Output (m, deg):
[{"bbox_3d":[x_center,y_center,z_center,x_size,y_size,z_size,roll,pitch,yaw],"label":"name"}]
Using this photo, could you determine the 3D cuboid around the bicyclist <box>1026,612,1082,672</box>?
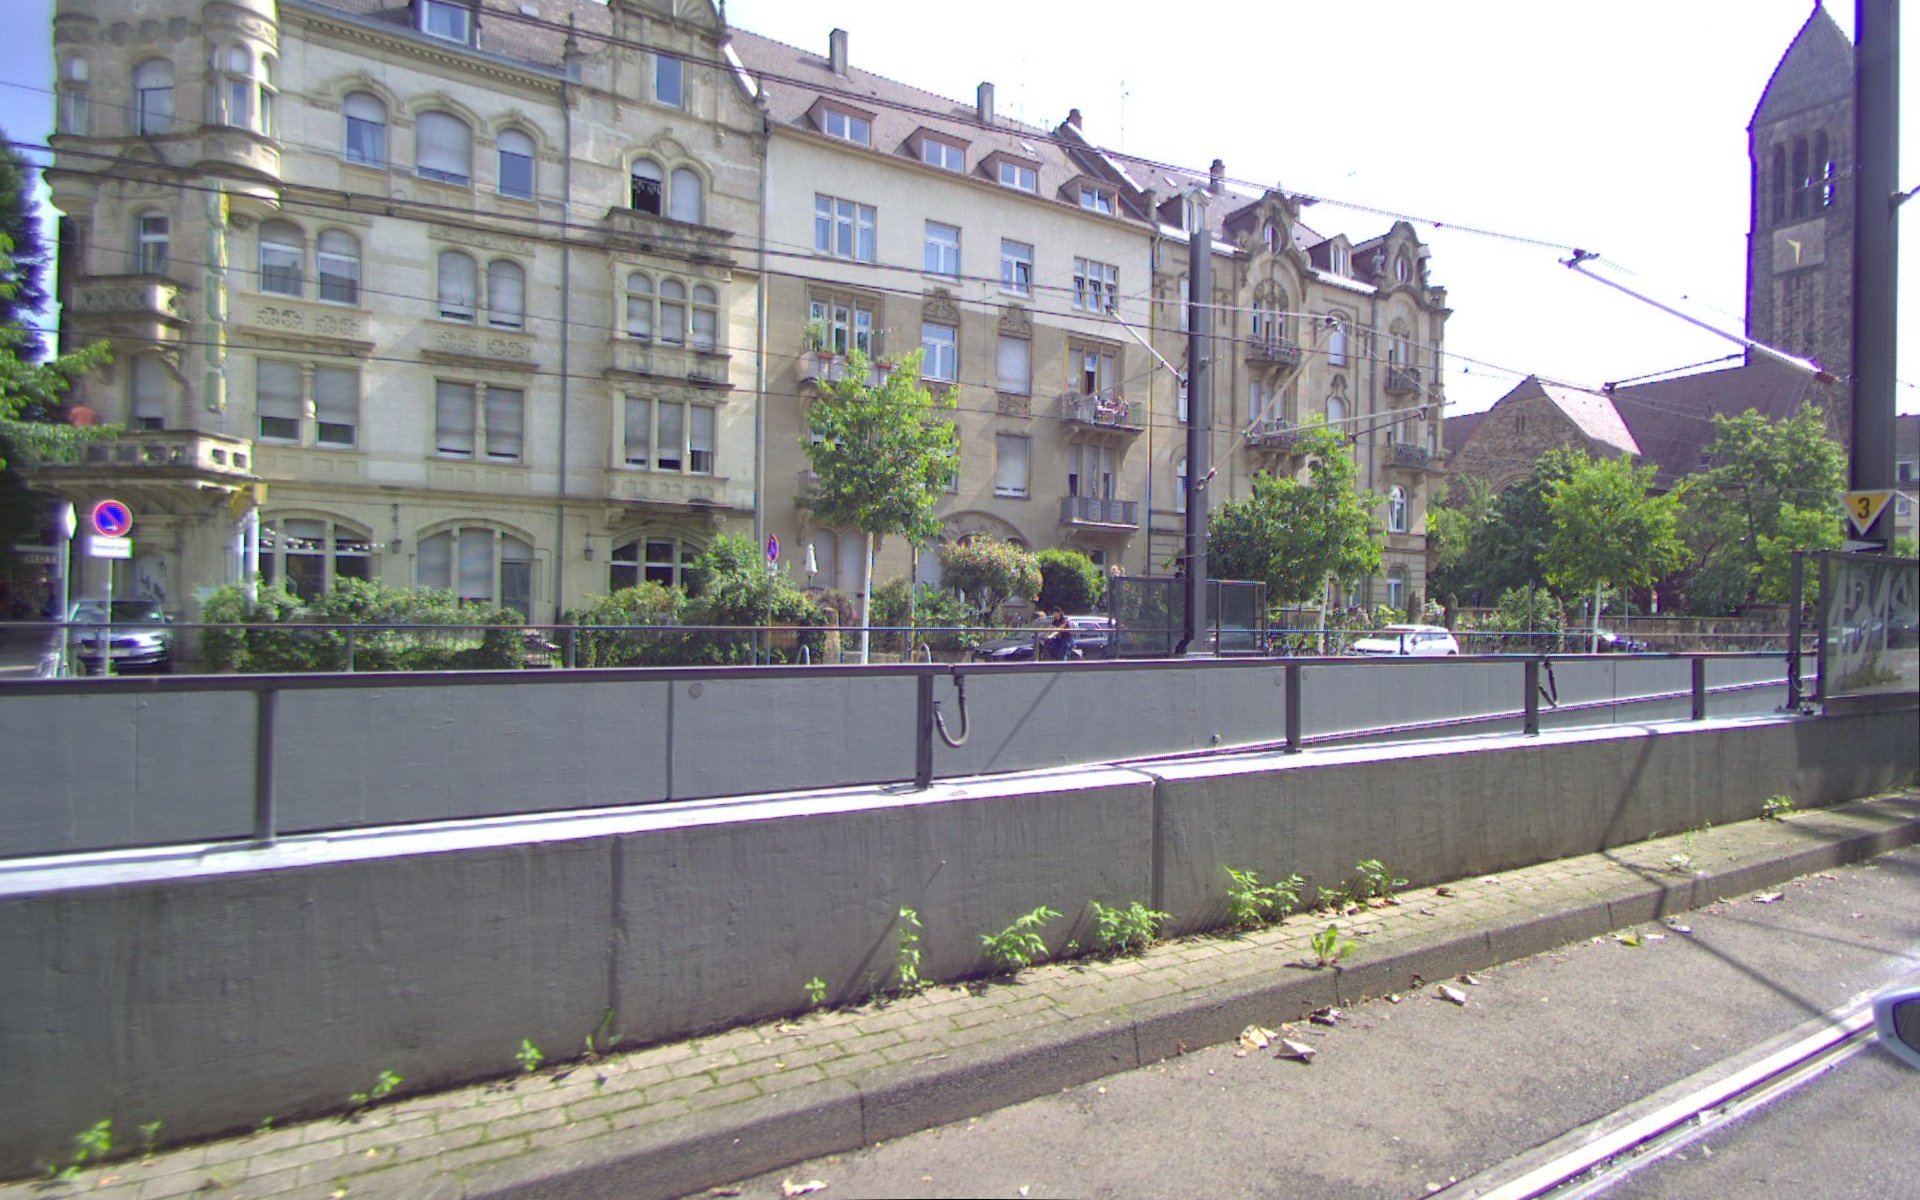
[{"bbox_3d":[2.158,0.960,23.075,1.036,1.355,0.764,1,-2,-30],"label":"bicyclist"}]

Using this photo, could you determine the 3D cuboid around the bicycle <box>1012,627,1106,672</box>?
[{"bbox_3d":[2.285,1.125,23.137,2.115,0.991,0.772,1,-2,-30],"label":"bicycle"}]

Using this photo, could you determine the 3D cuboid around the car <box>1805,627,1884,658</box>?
[{"bbox_3d":[45.691,2.164,51.877,4.366,1.524,1.920,1,-1,-32],"label":"car"}]

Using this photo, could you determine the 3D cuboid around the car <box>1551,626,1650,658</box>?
[{"bbox_3d":[32.400,2.111,50.923,1.703,1.483,3.944,1,-1,-29],"label":"car"}]

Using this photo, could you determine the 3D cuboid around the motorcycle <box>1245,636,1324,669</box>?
[{"bbox_3d":[9.621,1.551,29.862,1.402,0.954,1.751,1,-3,-31],"label":"motorcycle"}]

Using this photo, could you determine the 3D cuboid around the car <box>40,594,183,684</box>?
[{"bbox_3d":[-17.078,0.715,20.360,2.019,1.627,3.918,1,-1,-39],"label":"car"}]

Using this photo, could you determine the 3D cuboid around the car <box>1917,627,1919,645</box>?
[{"bbox_3d":[95.370,3.534,97.070,1.960,1.696,4.001,1,-1,3],"label":"car"}]

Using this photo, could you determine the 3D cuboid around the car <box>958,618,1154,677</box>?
[{"bbox_3d":[2.448,1.156,25.269,4.669,1.345,1.939,1,-1,-30],"label":"car"}]

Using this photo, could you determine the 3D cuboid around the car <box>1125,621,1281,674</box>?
[{"bbox_3d":[6.773,1.272,27.922,4.056,1.345,2.008,1,-1,-33],"label":"car"}]

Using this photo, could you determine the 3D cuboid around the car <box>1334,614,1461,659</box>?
[{"bbox_3d":[14.225,1.167,32.594,4.266,1.345,1.742,1,-1,-33],"label":"car"}]
